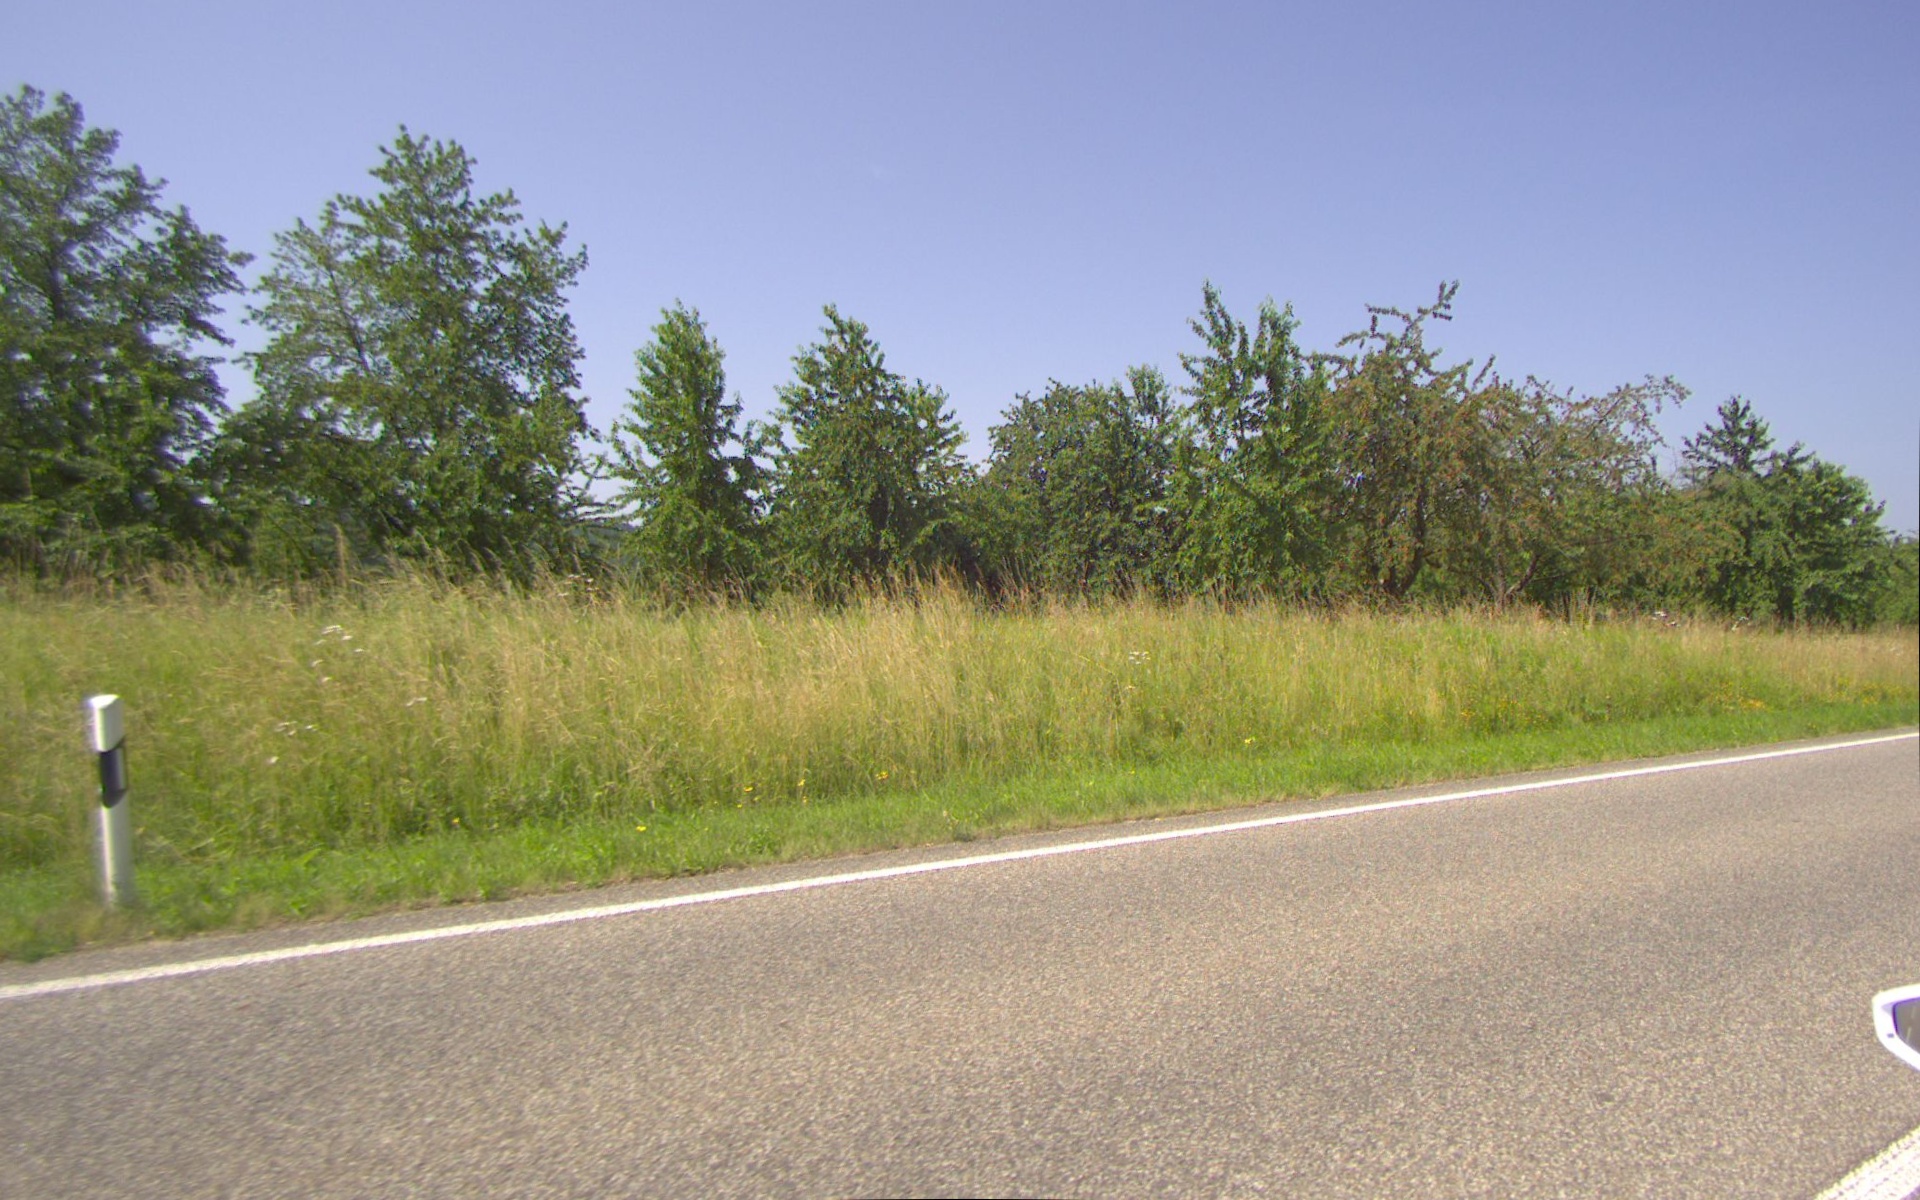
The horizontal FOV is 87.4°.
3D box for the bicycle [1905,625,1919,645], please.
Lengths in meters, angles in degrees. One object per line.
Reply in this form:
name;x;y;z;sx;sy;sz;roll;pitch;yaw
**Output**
bicycle;48.418;1.756;49.877;0.729;1.002;2.222;2;-1;-7
